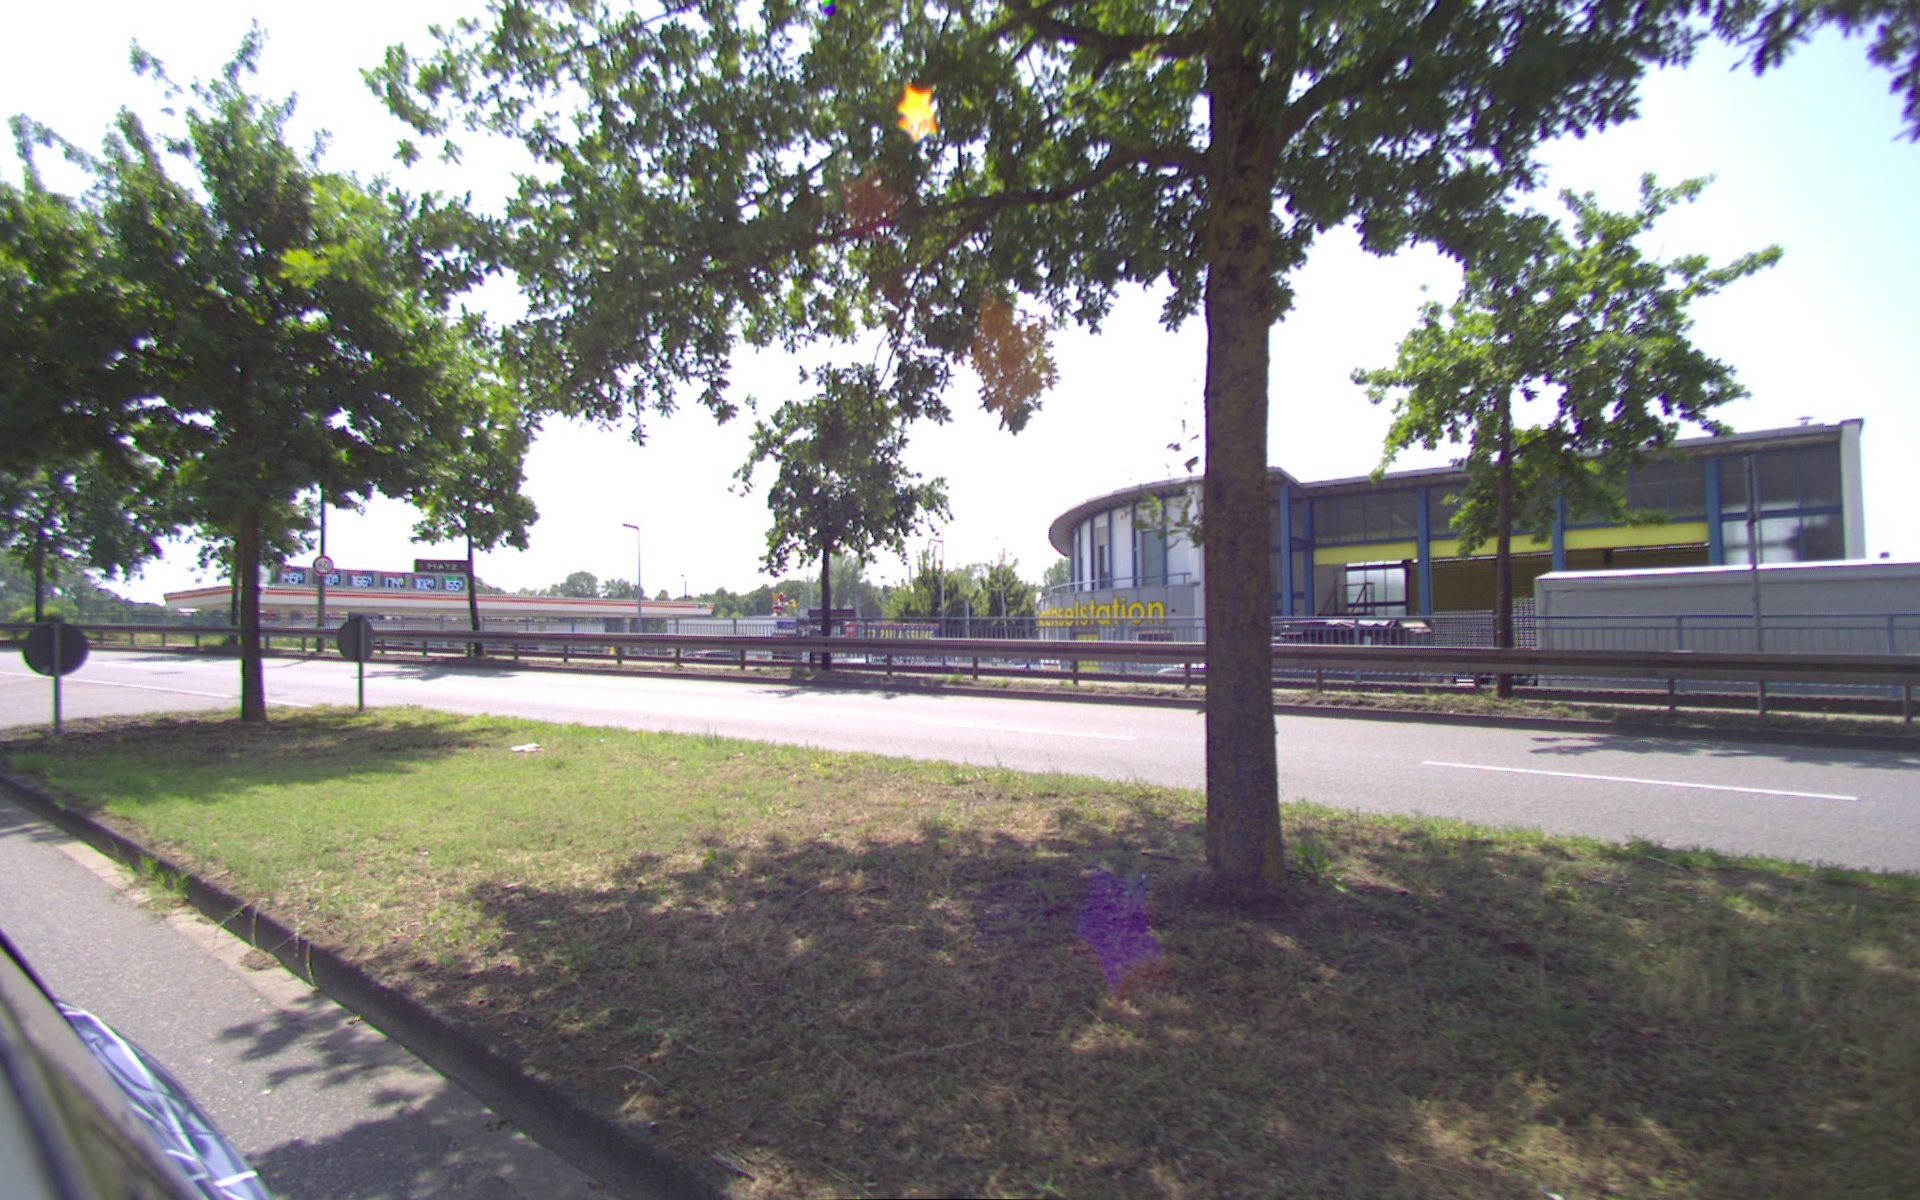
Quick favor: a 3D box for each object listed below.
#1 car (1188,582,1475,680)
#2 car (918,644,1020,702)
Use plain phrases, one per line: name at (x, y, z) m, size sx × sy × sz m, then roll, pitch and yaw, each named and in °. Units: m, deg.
car at (6.746, 0.596, 18.698) m, size 4.637 × 1.581 × 1.878 m, roll -1°, pitch -4°, yaw 41°
car at (0.394, 2.761, 39.222) m, size 1.997 × 2.029 × 3.950 m, roll -2°, pitch -2°, yaw 37°
